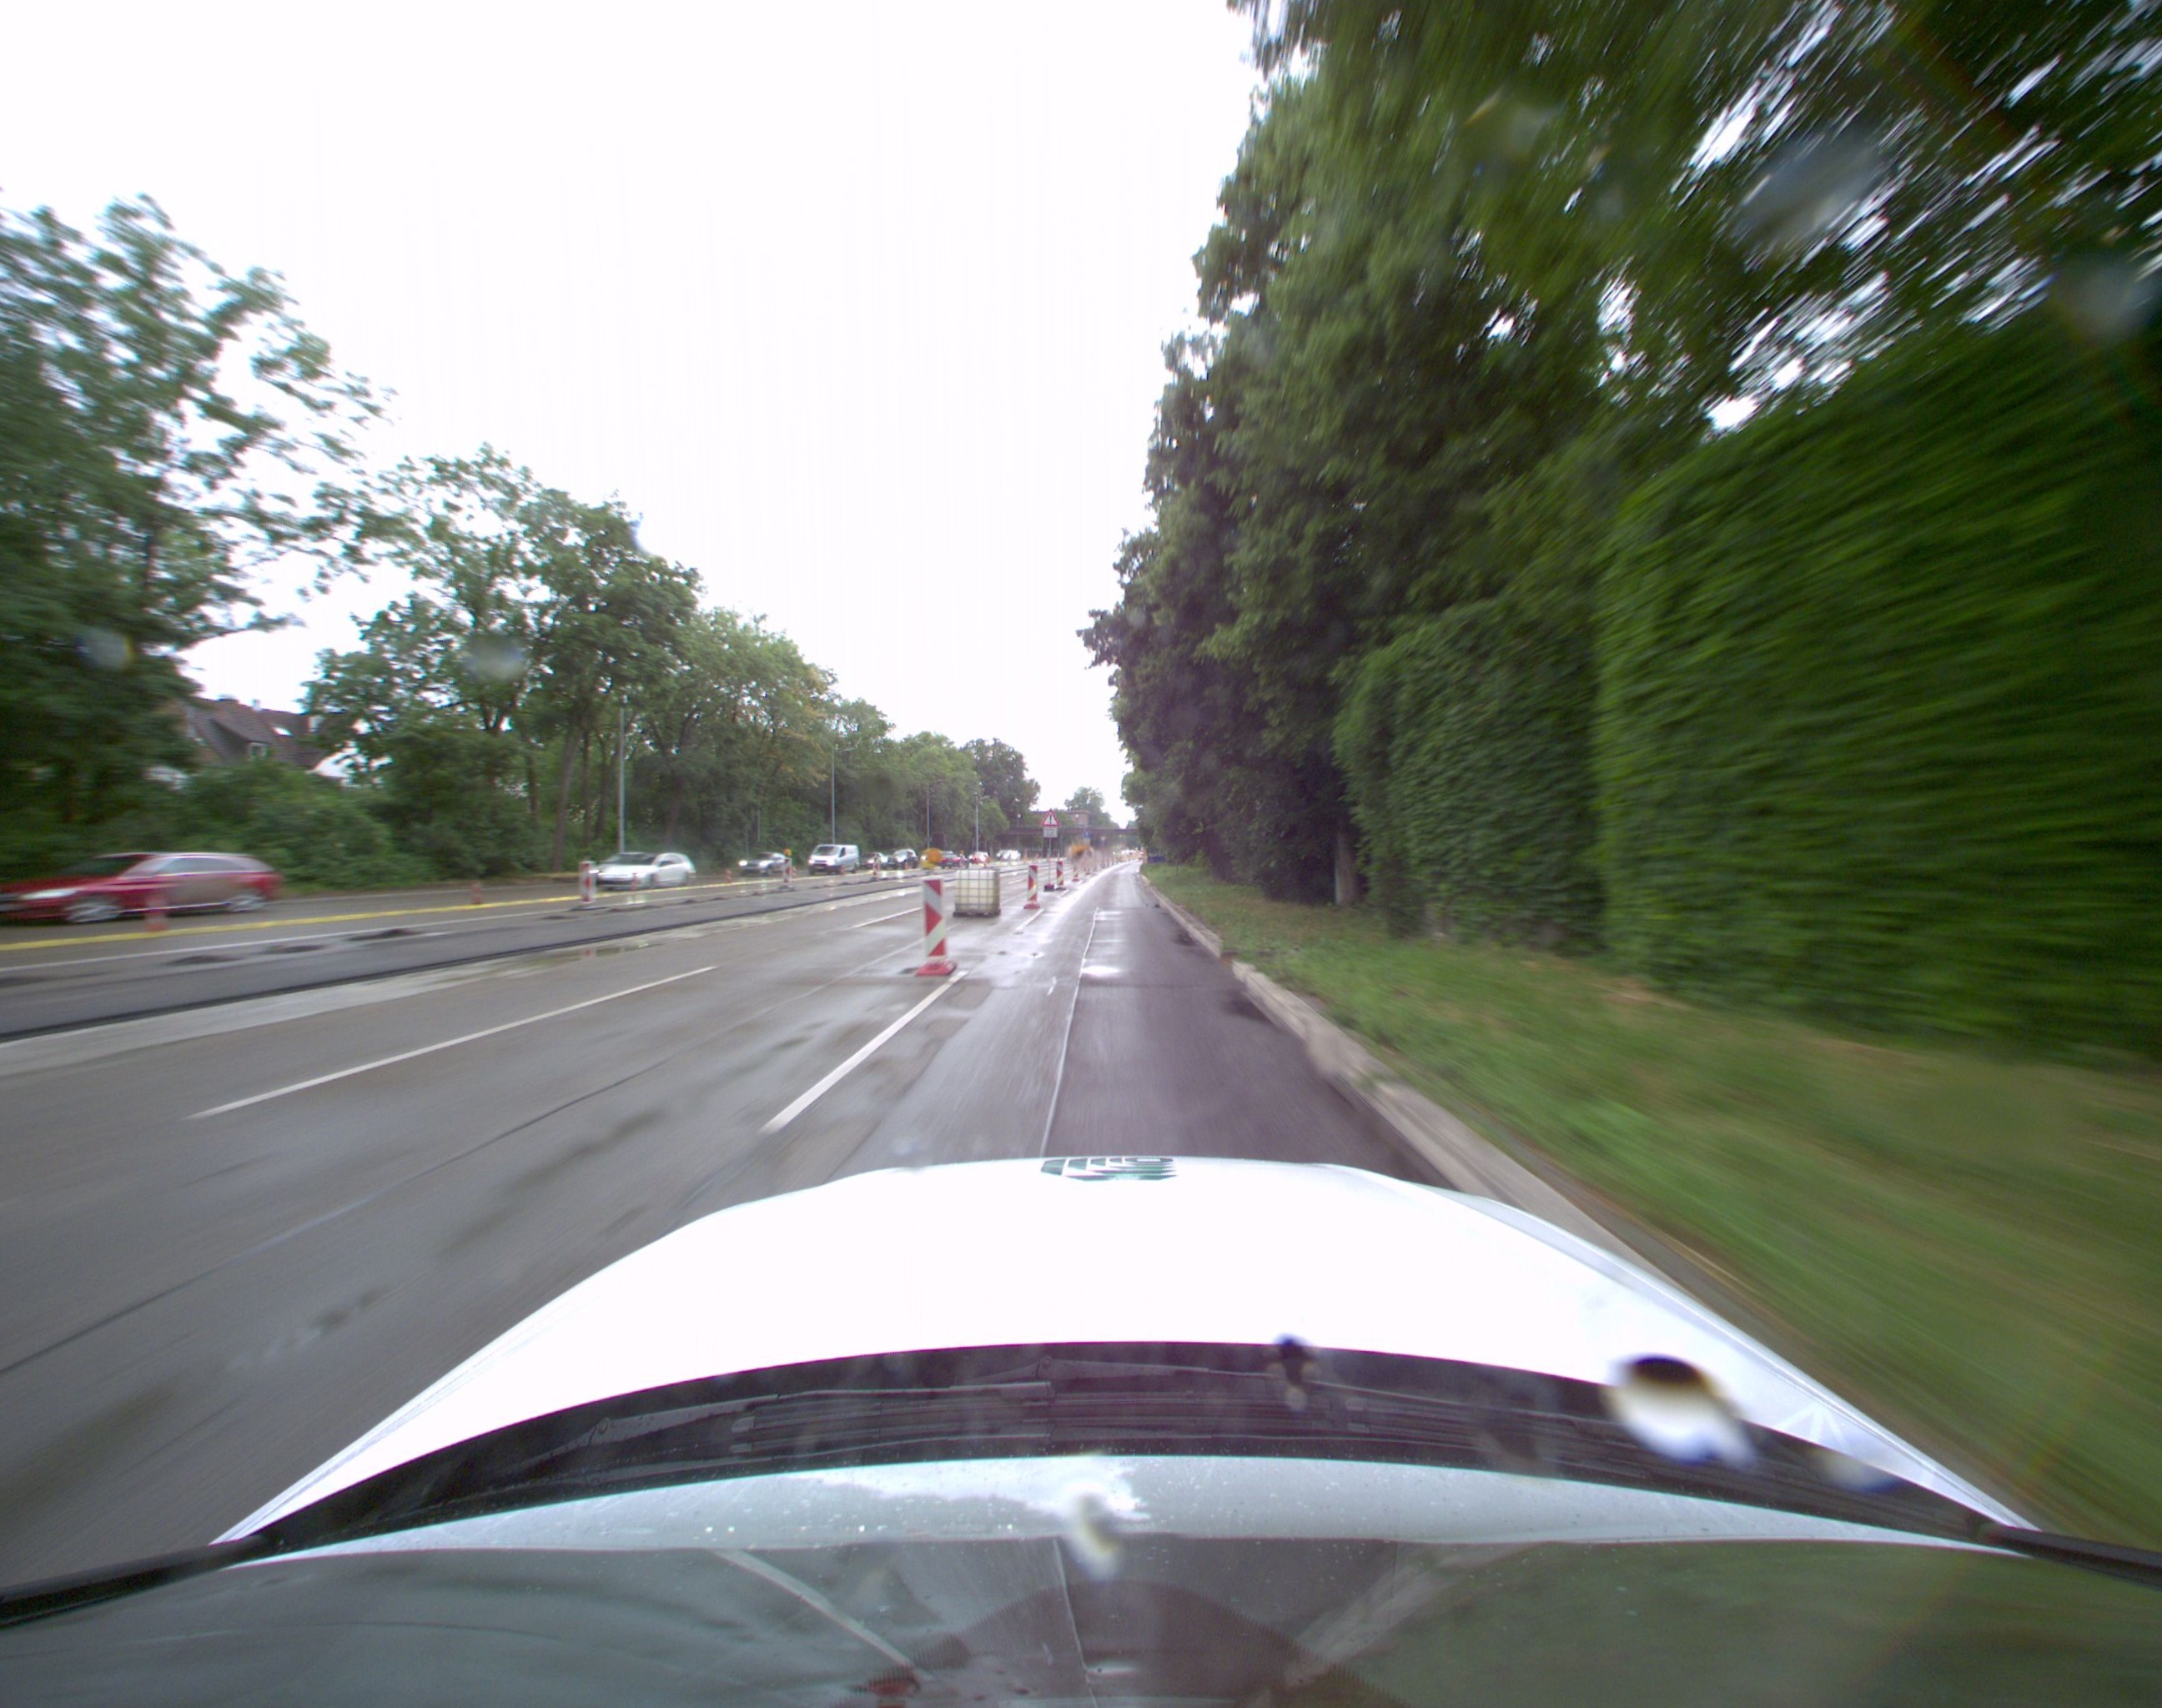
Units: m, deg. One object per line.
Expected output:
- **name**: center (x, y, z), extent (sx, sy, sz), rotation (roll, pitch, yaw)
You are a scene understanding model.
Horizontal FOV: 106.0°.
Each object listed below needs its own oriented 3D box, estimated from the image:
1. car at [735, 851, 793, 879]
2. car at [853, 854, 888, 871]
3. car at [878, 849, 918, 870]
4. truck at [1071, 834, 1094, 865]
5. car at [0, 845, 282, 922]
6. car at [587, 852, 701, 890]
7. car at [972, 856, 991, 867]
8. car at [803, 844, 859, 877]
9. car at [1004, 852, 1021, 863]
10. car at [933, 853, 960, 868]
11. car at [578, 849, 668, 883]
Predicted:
- **car**: center (-19.126, 0.645, 49.350), extent (1.820, 1.621, 4.002), rotation (1, 0, 2)
- **car**: center (-17.887, 0.723, 69.386), extent (1.638, 1.420, 4.004), rotation (1, 0, 3)
- **car**: center (-15.321, 0.453, 68.464), extent (2.013, 1.725, 5.016), rotation (1, 0, 3)
- **truck**: center (0.314, -0.601, 115.140), extent (2.887, 4.259, 10.758), rotation (1, 0, 1)
- **car**: center (-20.776, 0.575, 18.004), extent (1.722, 1.476, 4.488), rotation (0, 0, 1)
- **car**: center (-17.304, 0.650, 32.500), extent (1.985, 1.416, 4.396), rotation (-1, 0, 3)
- **car**: center (-12.424, 0.940, 101.514), extent (1.672, 1.400, 4.016), rotation (1, 0, 3)
- **car**: center (-16.147, 0.402, 52.865), extent (1.986, 1.972, 4.904), rotation (1, 0, 1)
- **car**: center (-10.405, 0.484, 124.167), extent (1.882, 1.661, 4.897), rotation (1, 0, 3)
- **car**: center (-13.817, 0.668, 83.722), extent (1.768, 1.487, 4.201), rotation (0, 0, 4)
- **car**: center (-19.988, 0.504, 35.717), extent (1.672, 1.400, 3.642), rotation (1, -1, 3)
